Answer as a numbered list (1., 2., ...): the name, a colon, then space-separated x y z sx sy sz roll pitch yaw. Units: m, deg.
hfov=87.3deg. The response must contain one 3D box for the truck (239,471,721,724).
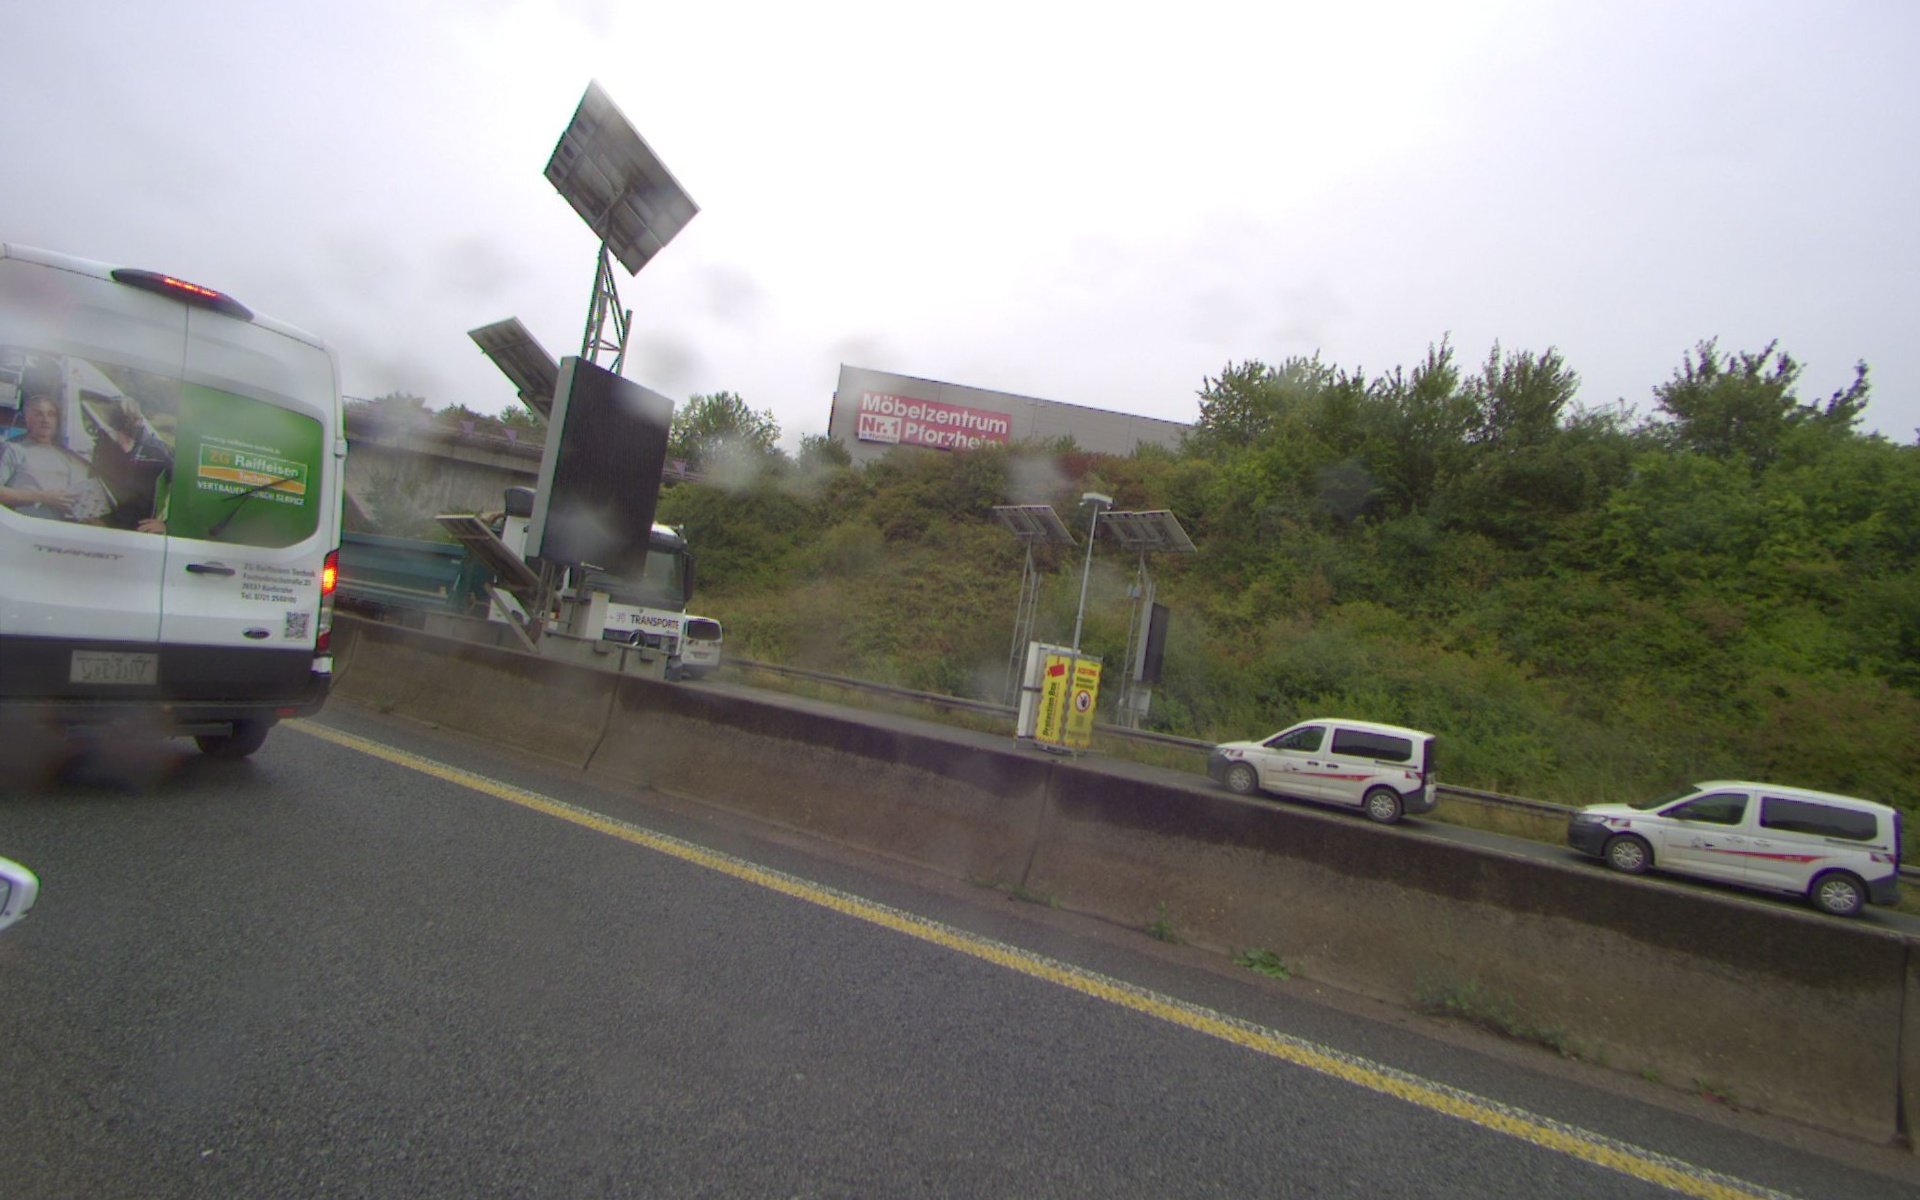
1. truck: -8.316 -0.217 16.785 8.967 3.168 2.525 6 -1 32

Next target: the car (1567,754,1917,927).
1. car: 12.748 3.854 16.807 4.257 1.790 1.732 6 -2 31

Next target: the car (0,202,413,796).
1. car: -6.614 -0.643 6.818 6.015 2.707 2.148 6 -1 31

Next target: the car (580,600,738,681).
1. car: -9.240 1.209 30.726 4.651 1.850 1.945 6 -2 34

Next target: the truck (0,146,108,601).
1. truck: -21.481 -3.943 17.378 20.040 5.740 3.986 6 -1 32

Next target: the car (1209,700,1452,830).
1. car: 7.397 3.200 20.206 4.197 1.778 1.732 6 -2 31
